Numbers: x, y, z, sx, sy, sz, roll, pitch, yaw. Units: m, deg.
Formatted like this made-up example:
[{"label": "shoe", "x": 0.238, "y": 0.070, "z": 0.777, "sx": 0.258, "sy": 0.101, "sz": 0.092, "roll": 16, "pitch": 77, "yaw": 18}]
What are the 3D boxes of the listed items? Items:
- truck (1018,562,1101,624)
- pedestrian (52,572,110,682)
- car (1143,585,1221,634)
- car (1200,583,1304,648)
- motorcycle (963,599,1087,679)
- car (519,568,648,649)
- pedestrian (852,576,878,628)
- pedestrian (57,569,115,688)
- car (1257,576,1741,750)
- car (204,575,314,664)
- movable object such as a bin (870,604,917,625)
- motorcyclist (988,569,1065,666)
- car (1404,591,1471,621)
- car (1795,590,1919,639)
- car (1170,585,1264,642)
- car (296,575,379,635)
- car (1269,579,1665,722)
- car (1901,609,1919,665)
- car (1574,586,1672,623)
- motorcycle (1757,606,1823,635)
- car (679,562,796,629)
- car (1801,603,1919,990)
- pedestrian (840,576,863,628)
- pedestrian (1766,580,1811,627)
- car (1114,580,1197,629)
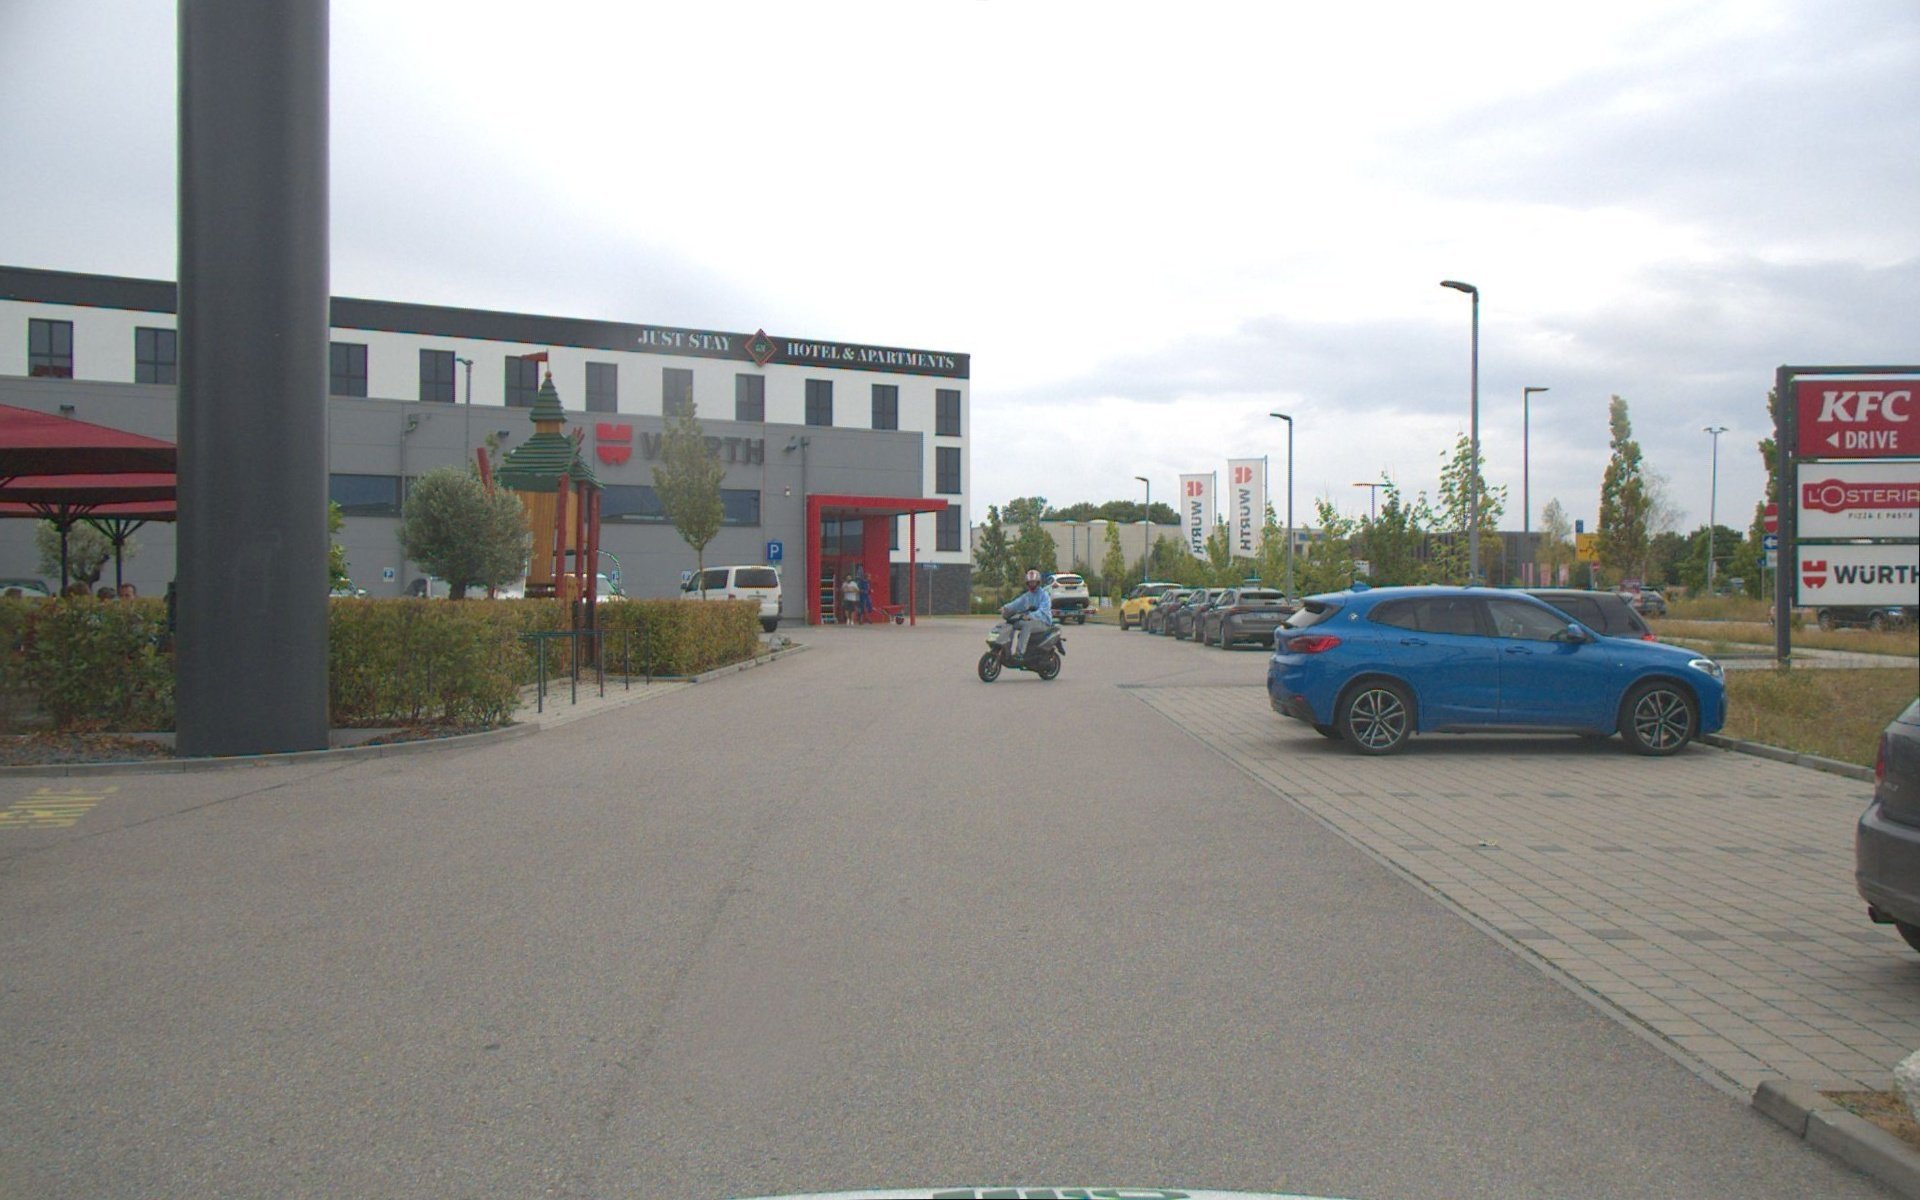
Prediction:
[{"label": "truck", "x": 4.472, "y": -0.240, "z": 75.795, "sx": 2.288, "sy": 2.449, "sz": 7.880, "roll": 1, "pitch": -2, "yaw": -8}, {"label": "pedestrian", "x": -14.465, "y": 0.436, "z": 27.239, "sx": 0.730, "sy": 1.778, "sz": 0.699, "roll": -2, "pitch": 0, "yaw": -23}, {"label": "car", "x": 7.054, "y": 0.292, "z": 52.879, "sx": 1.716, "sy": 1.495, "sz": 4.105, "roll": 0, "pitch": 0, "yaw": -3}, {"label": "car", "x": 7.126, "y": 0.355, "z": 40.735, "sx": 1.716, "sy": 1.495, "sz": 4.475, "roll": 0, "pitch": 0, "yaw": -1}, {"label": "motorcycle", "x": 1.045, "y": 0.615, "z": 26.358, "sx": 1.898, "sy": 1.229, "sz": 0.786, "roll": 1, "pitch": -1, "yaw": -34}, {"label": "car", "x": -8.639, "y": 0.190, "z": 37.684, "sx": 1.968, "sy": 1.679, "sz": 4.542, "roll": -2, "pitch": 0, "yaw": -25}, {"label": "pedestrian", "x": -3.395, "y": 0.067, "z": 59.322, "sx": 0.667, "sy": 1.834, "sz": 0.874, "roll": 1, "pitch": 0, "yaw": -22}, {"label": "pedestrian", "x": -9.196, "y": 0.298, "z": 17.408, "sx": 0.413, "sy": 1.220, "sz": 0.455, "roll": -2, "pitch": 0, "yaw": -15}, {"label": "car", "x": 5.103, "y": 0.568, "z": 16.084, "sx": 4.115, "sy": 1.571, "sz": 1.865, "roll": 0, "pitch": 0, "yaw": 1}, {"label": "car", "x": -14.733, "y": 0.385, "z": 34.635, "sx": 1.968, "sy": 1.679, "sz": 4.542, "roll": -2, "pitch": 0, "yaw": -25}, {"label": "movable object such as a bin", "x": -2.405, "y": 0.520, "z": 60.160, "sx": 1.468, "sy": 0.716, "sz": 0.958, "roll": 1, "pitch": 0, "yaw": -23}, {"label": "motorcyclist", "x": 1.055, "y": 0.283, "z": 26.357, "sx": 0.930, "sy": 1.515, "sz": 0.821, "roll": 1, "pitch": -1, "yaw": -34}, {"label": "car", "x": 23.656, "y": 0.269, "z": 82.081, "sx": 1.728, "sy": 1.419, "sz": 4.555, "roll": 0, "pitch": 0, "yaw": -4}, {"label": "car", "x": 26.953, "y": 0.399, "z": 49.376, "sx": 1.728, "sy": 1.419, "sz": 4.216, "roll": 0, "pitch": 0, "yaw": -4}, {"label": "car", "x": 7.152, "y": 0.351, "z": 46.494, "sx": 1.716, "sy": 1.495, "sz": 4.473, "roll": 0, "pitch": 0, "yaw": -3}, {"label": "car", "x": -17.515, "y": 0.147, "z": 46.439, "sx": 1.716, "sy": 1.579, "sz": 4.226, "roll": -2, "pitch": 0, "yaw": -27}, {"label": "car", "x": 5.630, "y": 0.543, "z": 18.749, "sx": 3.976, "sy": 1.485, "sz": 1.777, "roll": -1, "pitch": 1, "yaw": 3}, {"label": "car", "x": 24.550, "y": 0.932, "z": 40.343, "sx": 1.431, "sy": 1.360, "sz": 3.163, "roll": 0, "pitch": 0, "yaw": 1}, {"label": "car", "x": 29.763, "y": 0.201, "z": 74.414, "sx": 1.764, "sy": 1.579, "sz": 4.842, "roll": -2, "pitch": 0, "yaw": -10}, {"label": "motorcycle", "x": 23.893, "y": 0.578, "z": 47.653, "sx": 0.798, "sy": 0.787, "sz": 2.026, "roll": -1, "pitch": 0, "yaw": -3}, {"label": "car", "x": -6.957, "y": -0.129, "z": 51.412, "sx": 2.036, "sy": 1.887, "sz": 4.016, "roll": -4, "pitch": 1, "yaw": -32}, {"label": "car", "x": 5.596, "y": 0.795, "z": 6.300, "sx": 3.907, "sy": 1.453, "sz": 1.727, "roll": 1, "pitch": 0, "yaw": -2}, {"label": "pedestrian", "x": -3.769, "y": 0.064, "z": 57.363, "sx": 0.613, "sy": 1.782, "sz": 0.901, "roll": 0, "pitch": 0, "yaw": -16}, {"label": "pedestrian", "x": 23.870, "y": 0.101, "z": 47.679, "sx": 0.788, "sy": 1.304, "sz": 0.898, "roll": -1, "pitch": -2, "yaw": -4}, {"label": "car", "x": 6.982, "y": 0.158, "z": 59.387, "sx": 1.823, "sy": 1.679, "sz": 3.989, "roll": 1, "pitch": -1, "yaw": -11}]
